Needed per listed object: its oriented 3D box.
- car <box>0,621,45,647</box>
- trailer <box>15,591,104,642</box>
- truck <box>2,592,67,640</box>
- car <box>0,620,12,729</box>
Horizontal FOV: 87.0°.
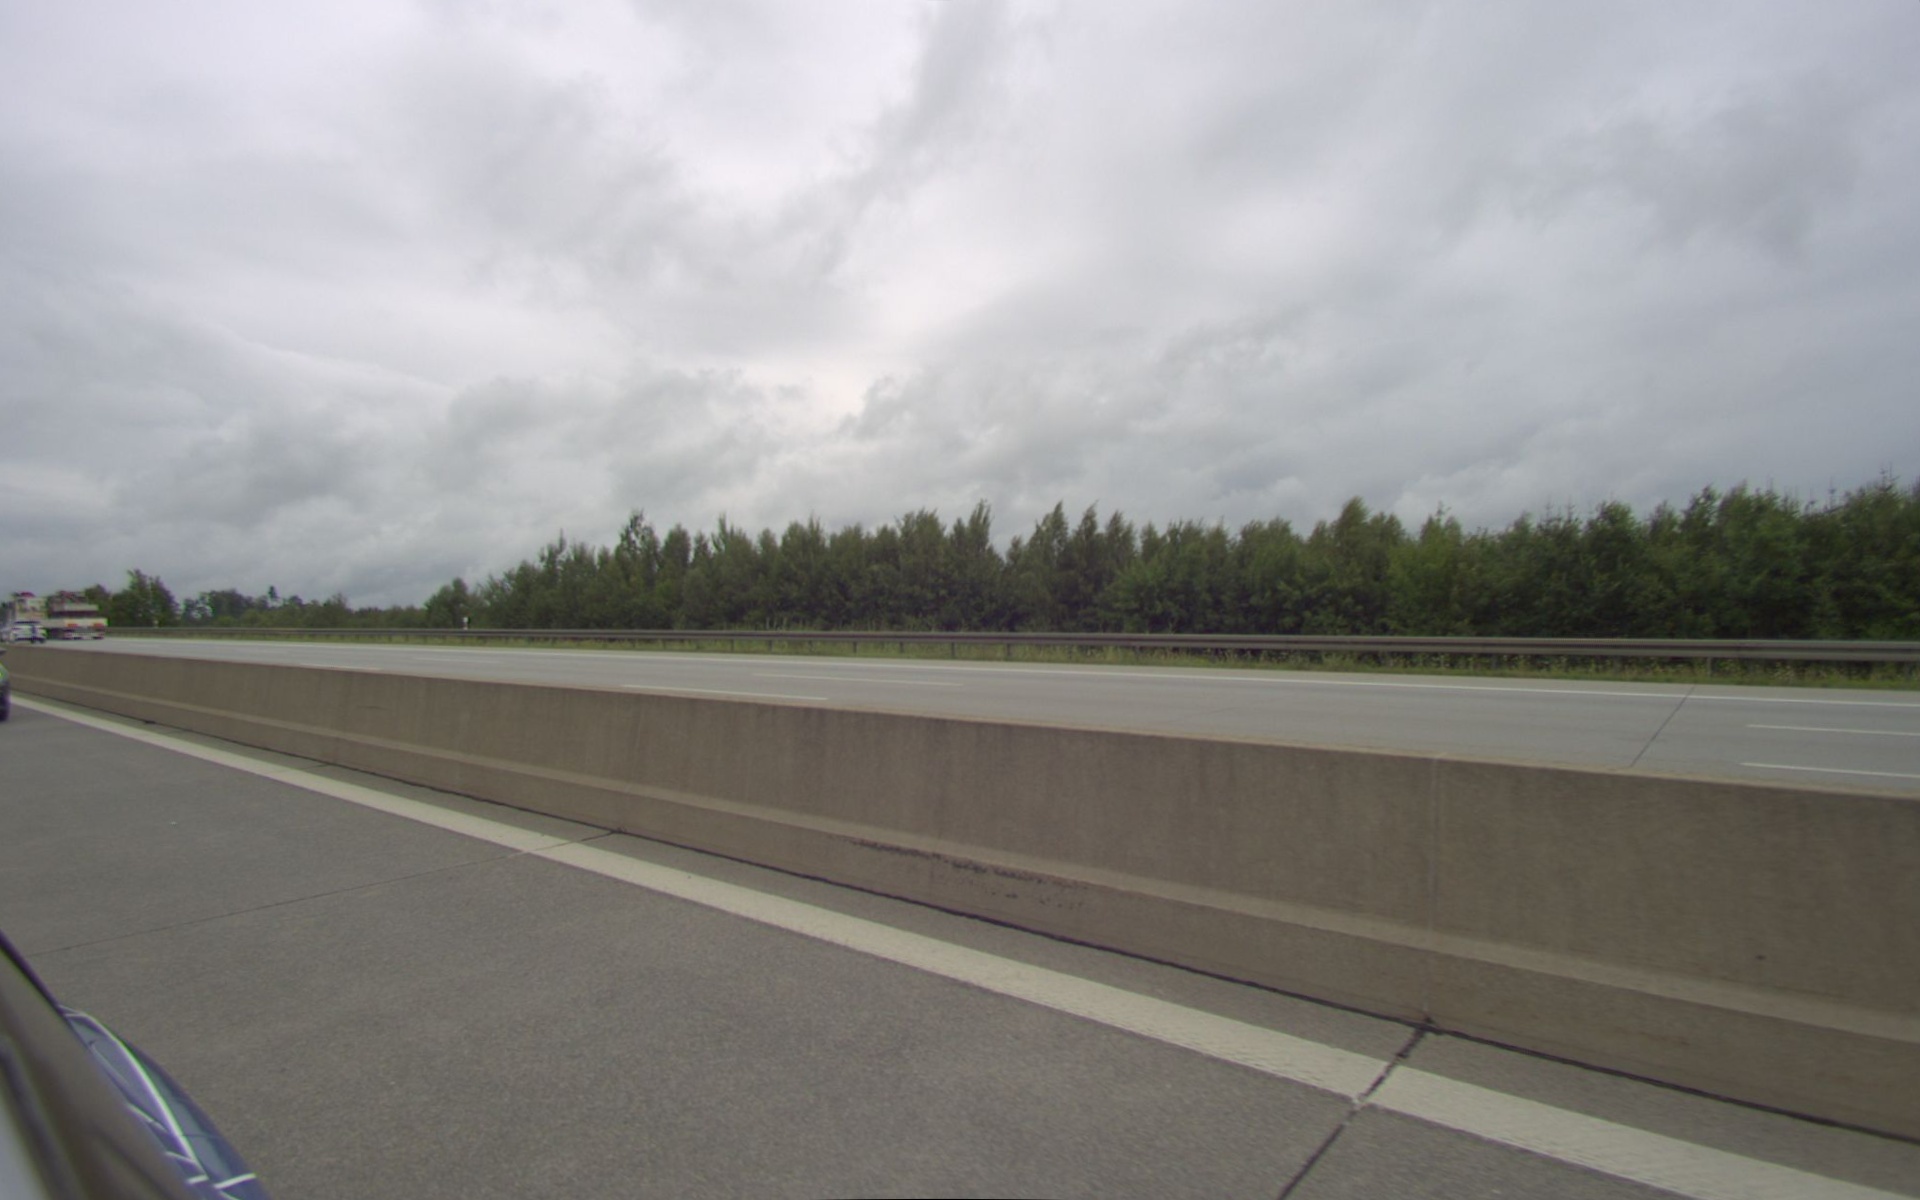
[{"bbox_3d":[-60.211,2.194,64.803,4.752,1.599,1.745,-2,-1,40],"label":"car"},{"bbox_3d":[-68.137,1.266,76.441,13.703,3.569,2.562,-1,-1,38],"label":"trailer"},{"bbox_3d":[-74.274,1.344,81.175,7.649,3.680,2.562,-2,-2,38],"label":"truck"},{"bbox_3d":[-15.421,1.053,14.779,4.567,1.492,1.767,-1,-1,40],"label":"car"}]
